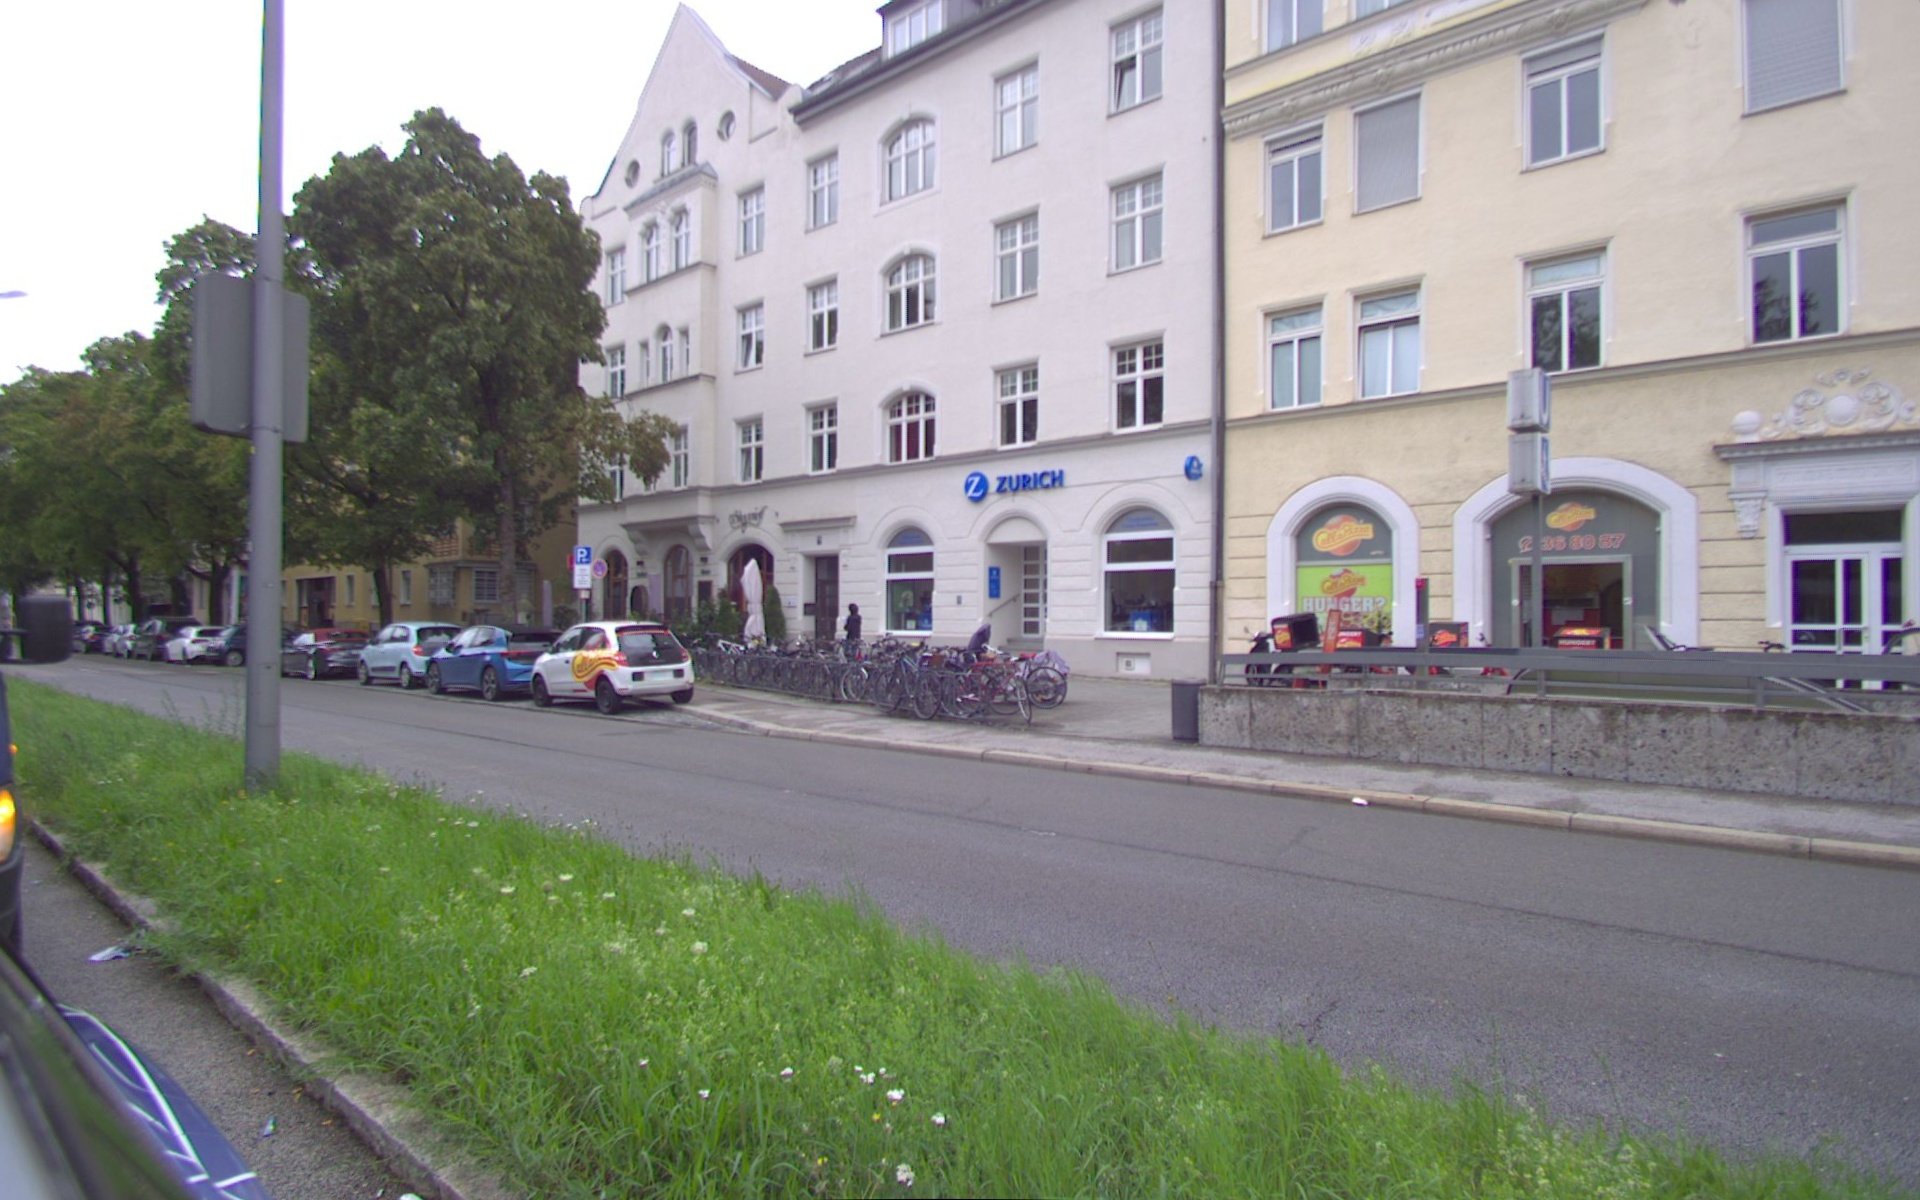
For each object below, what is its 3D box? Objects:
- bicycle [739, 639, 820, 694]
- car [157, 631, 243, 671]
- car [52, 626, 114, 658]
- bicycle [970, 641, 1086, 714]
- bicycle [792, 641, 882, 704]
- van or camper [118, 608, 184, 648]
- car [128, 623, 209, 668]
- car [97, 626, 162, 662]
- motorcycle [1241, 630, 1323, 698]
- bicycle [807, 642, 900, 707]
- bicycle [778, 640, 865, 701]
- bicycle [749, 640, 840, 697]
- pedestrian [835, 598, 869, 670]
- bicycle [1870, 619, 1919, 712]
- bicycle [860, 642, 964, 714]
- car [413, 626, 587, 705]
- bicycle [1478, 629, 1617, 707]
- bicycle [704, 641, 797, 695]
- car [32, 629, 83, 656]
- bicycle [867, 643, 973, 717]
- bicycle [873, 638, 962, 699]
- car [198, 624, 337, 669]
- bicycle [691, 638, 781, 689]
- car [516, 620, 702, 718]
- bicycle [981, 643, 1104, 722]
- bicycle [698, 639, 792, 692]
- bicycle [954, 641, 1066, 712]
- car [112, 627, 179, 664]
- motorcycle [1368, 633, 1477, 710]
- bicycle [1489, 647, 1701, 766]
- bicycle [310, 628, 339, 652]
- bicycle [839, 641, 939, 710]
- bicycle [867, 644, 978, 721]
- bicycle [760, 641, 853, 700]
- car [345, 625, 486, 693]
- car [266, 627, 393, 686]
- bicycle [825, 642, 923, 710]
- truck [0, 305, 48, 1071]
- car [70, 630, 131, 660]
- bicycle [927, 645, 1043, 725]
[{"bbox_3d":[-3.733,1.365,20.949,1.664,1.124,0.329,-1,-1,14],"label":"bicycle"},{"bbox_3d":[-28.686,1.876,38.166,4.401,1.413,1.708,-1,-2,41],"label":"car"},{"bbox_3d":[-47.246,2.240,54.497,4.768,1.658,1.859,-1,-2,41],"label":"car"},{"bbox_3d":[1.075,1.213,16.152,1.799,1.124,0.394,-1,-2,18],"label":"bicycle"},{"bbox_3d":[-2.282,1.323,18.709,1.667,1.124,0.328,-1,-2,18],"label":"bicycle"},{"bbox_3d":[-55.077,1.902,68.822,6.847,2.599,2.321,-1,-2,41],"label":"van or camper"},{"bbox_3d":[-32.900,1.840,42.013,4.765,1.741,1.791,-1,-2,41],"label":"car"},{"bbox_3d":[-38.965,2.030,47.459,4.055,1.573,1.709,-1,-2,41],"label":"car"},{"bbox_3d":[5.889,1.149,18.641,0.600,1.139,1.991,0,-1,-9],"label":"motorcycle"},{"bbox_3d":[-1.914,1.317,18.099,1.667,1.124,0.328,-1,-2,18],"label":"bicycle"},{"bbox_3d":[-2.639,1.326,19.263,1.667,1.124,0.328,-1,-2,18],"label":"bicycle"},{"bbox_3d":[-3.330,1.362,20.337,1.859,1.124,0.328,-1,-2,18],"label":"bicycle"},{"bbox_3d":[-2.525,0.797,23.613,0.416,1.644,0.784,1,-2,-43],"label":"pedestrian"},{"bbox_3d":[10.655,0.688,10.665,1.544,0.988,0.468,-1,-2,41],"label":"bicycle"},{"bbox_3d":[-0.790,1.253,16.409,1.667,1.124,0.365,-1,-2,18],"label":"bicycle"},{"bbox_3d":[-9.907,1.316,21.675,4.289,1.518,1.792,-1,-2,41],"label":"car"},{"bbox_3d":[7.881,0.883,13.615,1.544,0.988,0.468,-1,-2,41],"label":"bicycle"},{"bbox_3d":[-4.431,1.428,21.447,1.860,1.124,0.548,-1,-1,10],"label":"bicycle"},{"bbox_3d":[-51.958,2.435,58.247,4.490,1.465,1.674,-1,-2,41],"label":"car"},{"bbox_3d":[-0.633,1.244,15.937,1.667,1.124,0.328,-1,-2,18],"label":"bicycle"},{"bbox_3d":[-0.810,1.290,19.170,1.667,1.124,0.328,-1,-2,18],"label":"bicycle"},{"bbox_3d":[-25.116,1.649,36.798,1.730,1.475,3.851,-1,-1,39],"label":"car"},{"bbox_3d":[-5.023,1.413,22.701,1.944,1.124,0.457,-1,-1,10],"label":"bicycle"},{"bbox_3d":[-6.488,1.176,18.522,3.790,1.597,1.631,-1,-2,43],"label":"car"},{"bbox_3d":[1.231,1.217,15.152,1.799,1.124,0.394,-1,-2,18],"label":"bicycle"},{"bbox_3d":[-4.695,1.414,22.114,1.966,1.124,0.503,-1,-1,10],"label":"bicycle"},{"bbox_3d":[0.817,1.247,16.706,1.799,1.124,0.394,-1,-2,18],"label":"bicycle"},{"bbox_3d":[-36.120,1.987,44.856,3.007,1.569,1.710,-1,-2,39],"label":"car"},{"bbox_3d":[7.547,1.137,16.620,0.600,1.130,1.991,0,-1,-9],"label":"motorcycle"},{"bbox_3d":[6.514,1.063,10.468,1.808,1.124,0.392,-1,-2,33],"label":"bicycle"},{"bbox_3d":[-33.212,2.084,52.882,1.929,1.231,0.762,-1,-2,41],"label":"bicycle"},{"bbox_3d":[-1.197,1.252,16.992,1.667,1.124,0.328,-1,-2,18],"label":"bicycle"},{"bbox_3d":[-0.582,1.246,15.507,1.667,1.124,0.366,-1,-2,18],"label":"bicycle"},{"bbox_3d":[-3.009,1.361,19.819,1.859,1.124,0.328,-1,-2,18],"label":"bicycle"},{"bbox_3d":[-13.454,1.387,24.942,3.958,1.518,1.792,-1,-2,41],"label":"car"},{"bbox_3d":[-17.893,1.531,28.647,4.643,1.518,1.792,-1,-2,41],"label":"car"},{"bbox_3d":[-1.493,1.295,17.482,1.667,1.124,0.380,-1,-2,18],"label":"bicycle"},{"bbox_3d":[-5.651,0.314,4.346,5.148,2.508,1.973,-1,-2,41],"label":"truck"},{"bbox_3d":[-43.008,2.227,50.592,4.361,1.416,1.709,-1,-2,41],"label":"car"},{"bbox_3d":[0.359,1.215,14.690,1.667,1.124,0.328,-1,-2,18],"label":"bicycle"}]
